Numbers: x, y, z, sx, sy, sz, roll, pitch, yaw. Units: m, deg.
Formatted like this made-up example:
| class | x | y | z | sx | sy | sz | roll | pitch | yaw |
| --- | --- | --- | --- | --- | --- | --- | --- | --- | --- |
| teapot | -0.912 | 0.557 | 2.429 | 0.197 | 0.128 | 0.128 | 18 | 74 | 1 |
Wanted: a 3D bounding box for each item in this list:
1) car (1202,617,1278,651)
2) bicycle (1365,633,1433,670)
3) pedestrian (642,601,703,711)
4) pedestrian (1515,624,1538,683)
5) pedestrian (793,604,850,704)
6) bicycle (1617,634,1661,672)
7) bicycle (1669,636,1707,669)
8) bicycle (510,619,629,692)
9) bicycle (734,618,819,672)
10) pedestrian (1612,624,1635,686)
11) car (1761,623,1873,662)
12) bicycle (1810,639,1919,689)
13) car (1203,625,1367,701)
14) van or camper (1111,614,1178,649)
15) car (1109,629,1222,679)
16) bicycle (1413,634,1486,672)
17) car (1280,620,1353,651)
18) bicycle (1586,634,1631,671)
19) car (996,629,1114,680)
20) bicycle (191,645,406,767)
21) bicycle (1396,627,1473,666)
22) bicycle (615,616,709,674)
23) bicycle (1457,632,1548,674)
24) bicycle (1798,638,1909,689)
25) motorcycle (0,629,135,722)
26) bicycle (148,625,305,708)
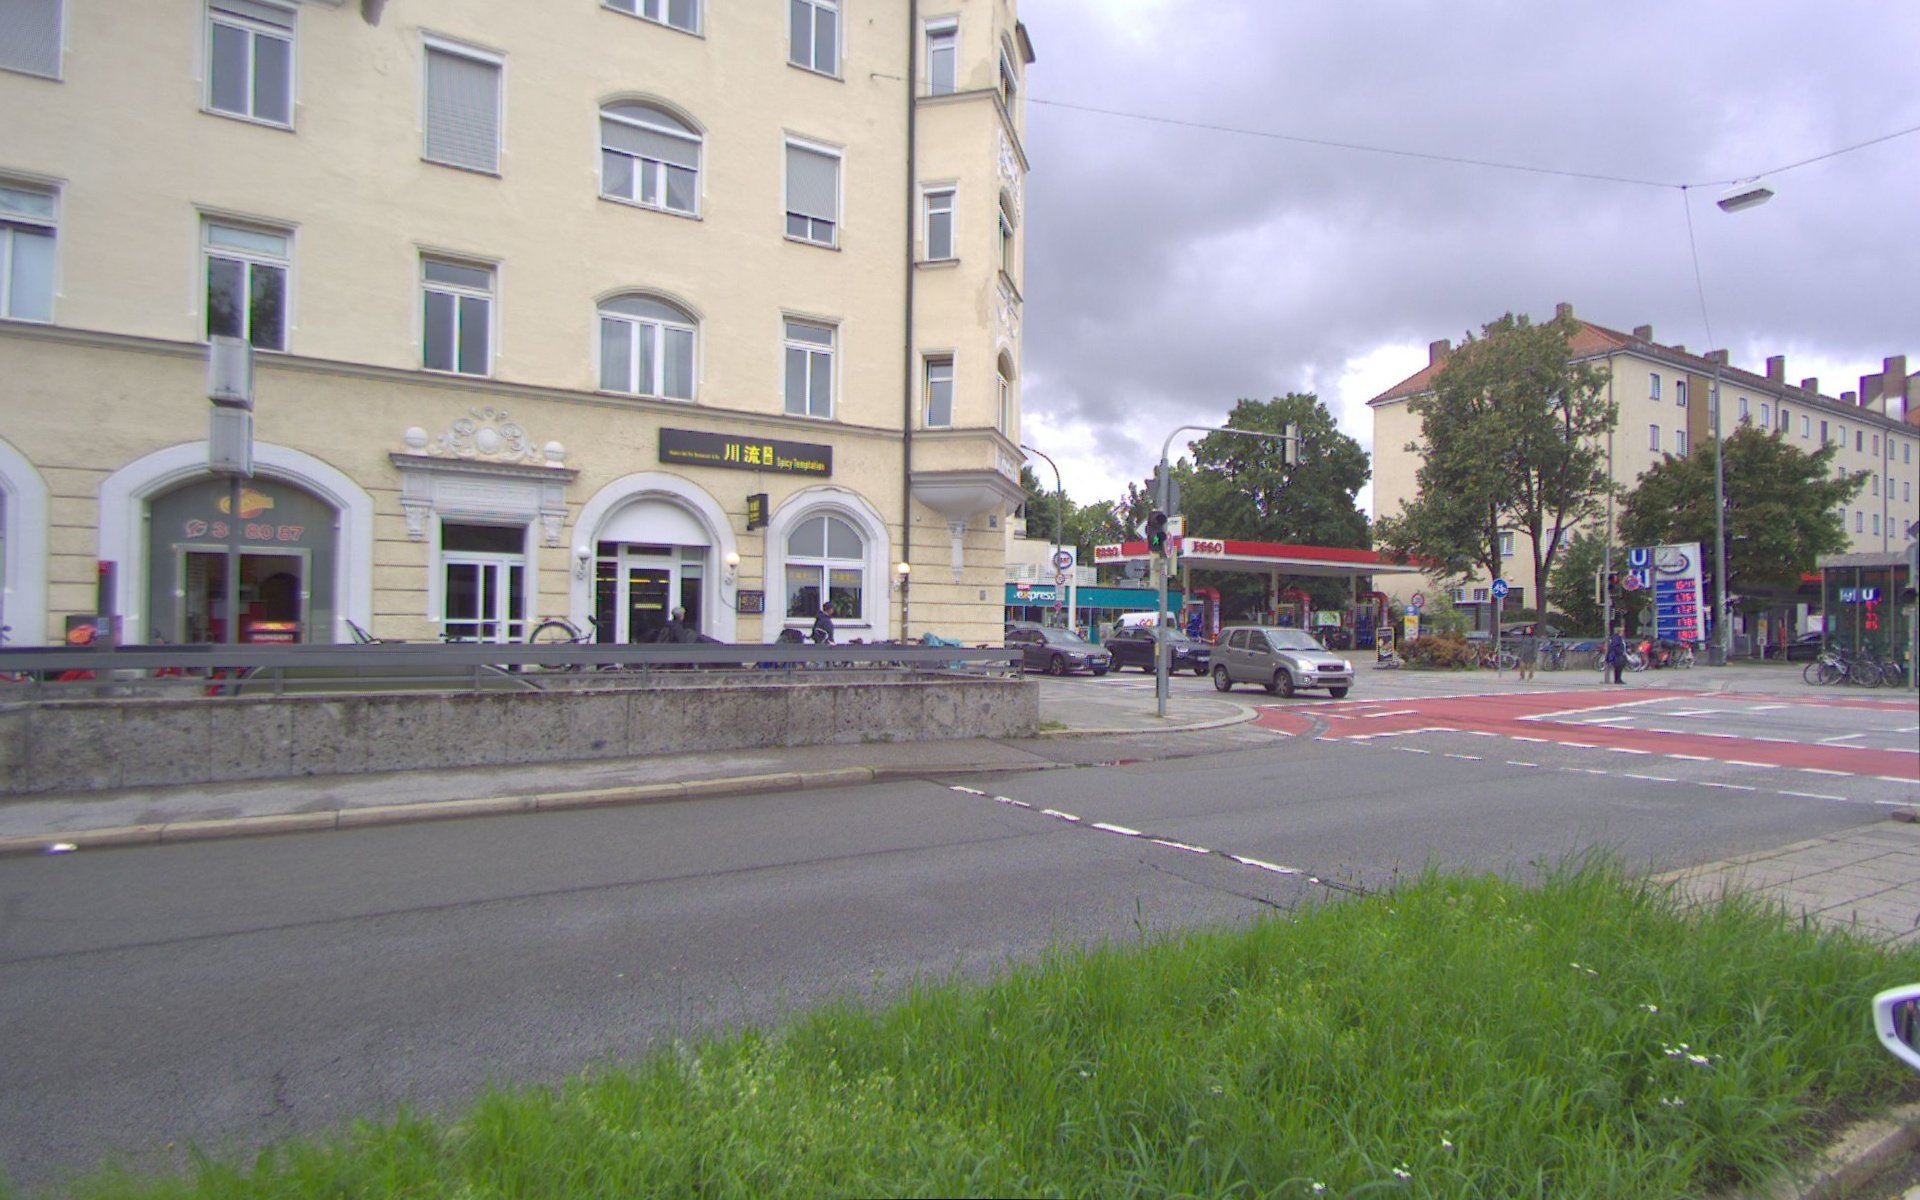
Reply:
| class | x | y | z | sx | sy | sz | roll | pitch | yaw |
| --- | --- | --- | --- | --- | --- | --- | --- | --- | --- |
| car | 15.745 | 1.892 | 56.619 | 1.836 | 1.808 | 3.968 | 1 | -1 | -30 |
| bicycle | 15.912 | 1.855 | 36.452 | 0.759 | 1.252 | 2.162 | 1 | -1 | -39 |
| pedestrian | -4.647 | 0.887 | 16.231 | 0.765 | 1.719 | 0.538 | 1 | -1 | -44 |
| pedestrian | 16.750 | 1.571 | 29.712 | 0.581 | 1.717 | 0.576 | 0 | -1 | 29 |
| pedestrian | -2.413 | 0.937 | 17.597 | 0.927 | 1.719 | 0.593 | 1 | -1 | -4 |
| bicycle | 23.418 | 1.804 | 34.634 | 2.167 | 1.252 | 0.603 | 1 | -1 | -37 |
| bicycle | 26.812 | 1.929 | 36.974 | 1.947 | 1.160 | 0.603 | 1 | -1 | -37 |
| bicycle | -5.559 | 0.773 | 14.326 | 1.527 | 0.993 | 0.470 | 1 | -1 | -30 |
| bicycle | -3.496 | 0.850 | 19.181 | 1.527 | 0.993 | 0.470 | 1 | -1 | -30 |
| pedestrian | 18.809 | 1.551 | 28.484 | 0.527 | 1.717 | 0.575 | 0 | -1 | 34 |
| car | 43.254 | 2.132 | 50.788 | 1.860 | 1.862 | 3.965 | 1 | -1 | -32 |
| bicycle | 25.891 | 1.812 | 28.780 | 0.685 | 1.322 | 2.275 | 1 | -1 | -28 |
| car | 7.257 | 1.364 | 22.793 | 1.639 | 1.537 | 3.613 | 1 | -1 | -21 |
| van or camper | 12.553 | 2.115 | 68.679 | 1.899 | 2.354 | 4.508 | 1 | -1 | -34 |
| car | 6.381 | 1.641 | 31.551 | 1.643 | 1.430 | 3.534 | 1 | -1 | -27 |
| bicycle | 16.929 | 1.820 | 34.811 | 0.760 | 1.252 | 2.161 | 1 | -1 | -41 |
| car | 21.502 | 2.100 | 60.690 | 1.836 | 1.808 | 3.968 | 1 | -1 | -30 |
| bicycle | 22.439 | 1.791 | 34.728 | 2.167 | 1.252 | 0.603 | 1 | -1 | -37 |
| car | 2.898 | 1.662 | 31.628 | 1.643 | 1.430 | 4.299 | 1 | -1 | -27 |
| bicycle | -6.720 | 1.039 | 10.274 | 1.798 | 1.130 | 0.392 | 1 | -1 | -39 |
| bicycle | 16.985 | 1.654 | 36.010 | 0.785 | 1.267 | 2.374 | 2 | 0 | -40 |
| bicycle | -5.249 | 0.786 | 17.716 | 1.527 | 0.993 | 0.470 | 1 | -1 | -30 |
| bicycle | 18.468 | 1.792 | 34.244 | 2.664 | 1.267 | 0.792 | 2 | 0 | 30 |
| bicycle | 25.218 | 1.768 | 28.407 | 0.695 | 1.322 | 2.262 | 1 | -1 | -28 |
| motorcycle | -12.066 | 0.983 | 13.305 | 1.947 | 1.137 | 0.610 | 1 | -1 | 10 |
| bicycle | -9.178 | 0.815 | 12.634 | 1.527 | 0.993 | 0.470 | 1 | -1 | -30 |
